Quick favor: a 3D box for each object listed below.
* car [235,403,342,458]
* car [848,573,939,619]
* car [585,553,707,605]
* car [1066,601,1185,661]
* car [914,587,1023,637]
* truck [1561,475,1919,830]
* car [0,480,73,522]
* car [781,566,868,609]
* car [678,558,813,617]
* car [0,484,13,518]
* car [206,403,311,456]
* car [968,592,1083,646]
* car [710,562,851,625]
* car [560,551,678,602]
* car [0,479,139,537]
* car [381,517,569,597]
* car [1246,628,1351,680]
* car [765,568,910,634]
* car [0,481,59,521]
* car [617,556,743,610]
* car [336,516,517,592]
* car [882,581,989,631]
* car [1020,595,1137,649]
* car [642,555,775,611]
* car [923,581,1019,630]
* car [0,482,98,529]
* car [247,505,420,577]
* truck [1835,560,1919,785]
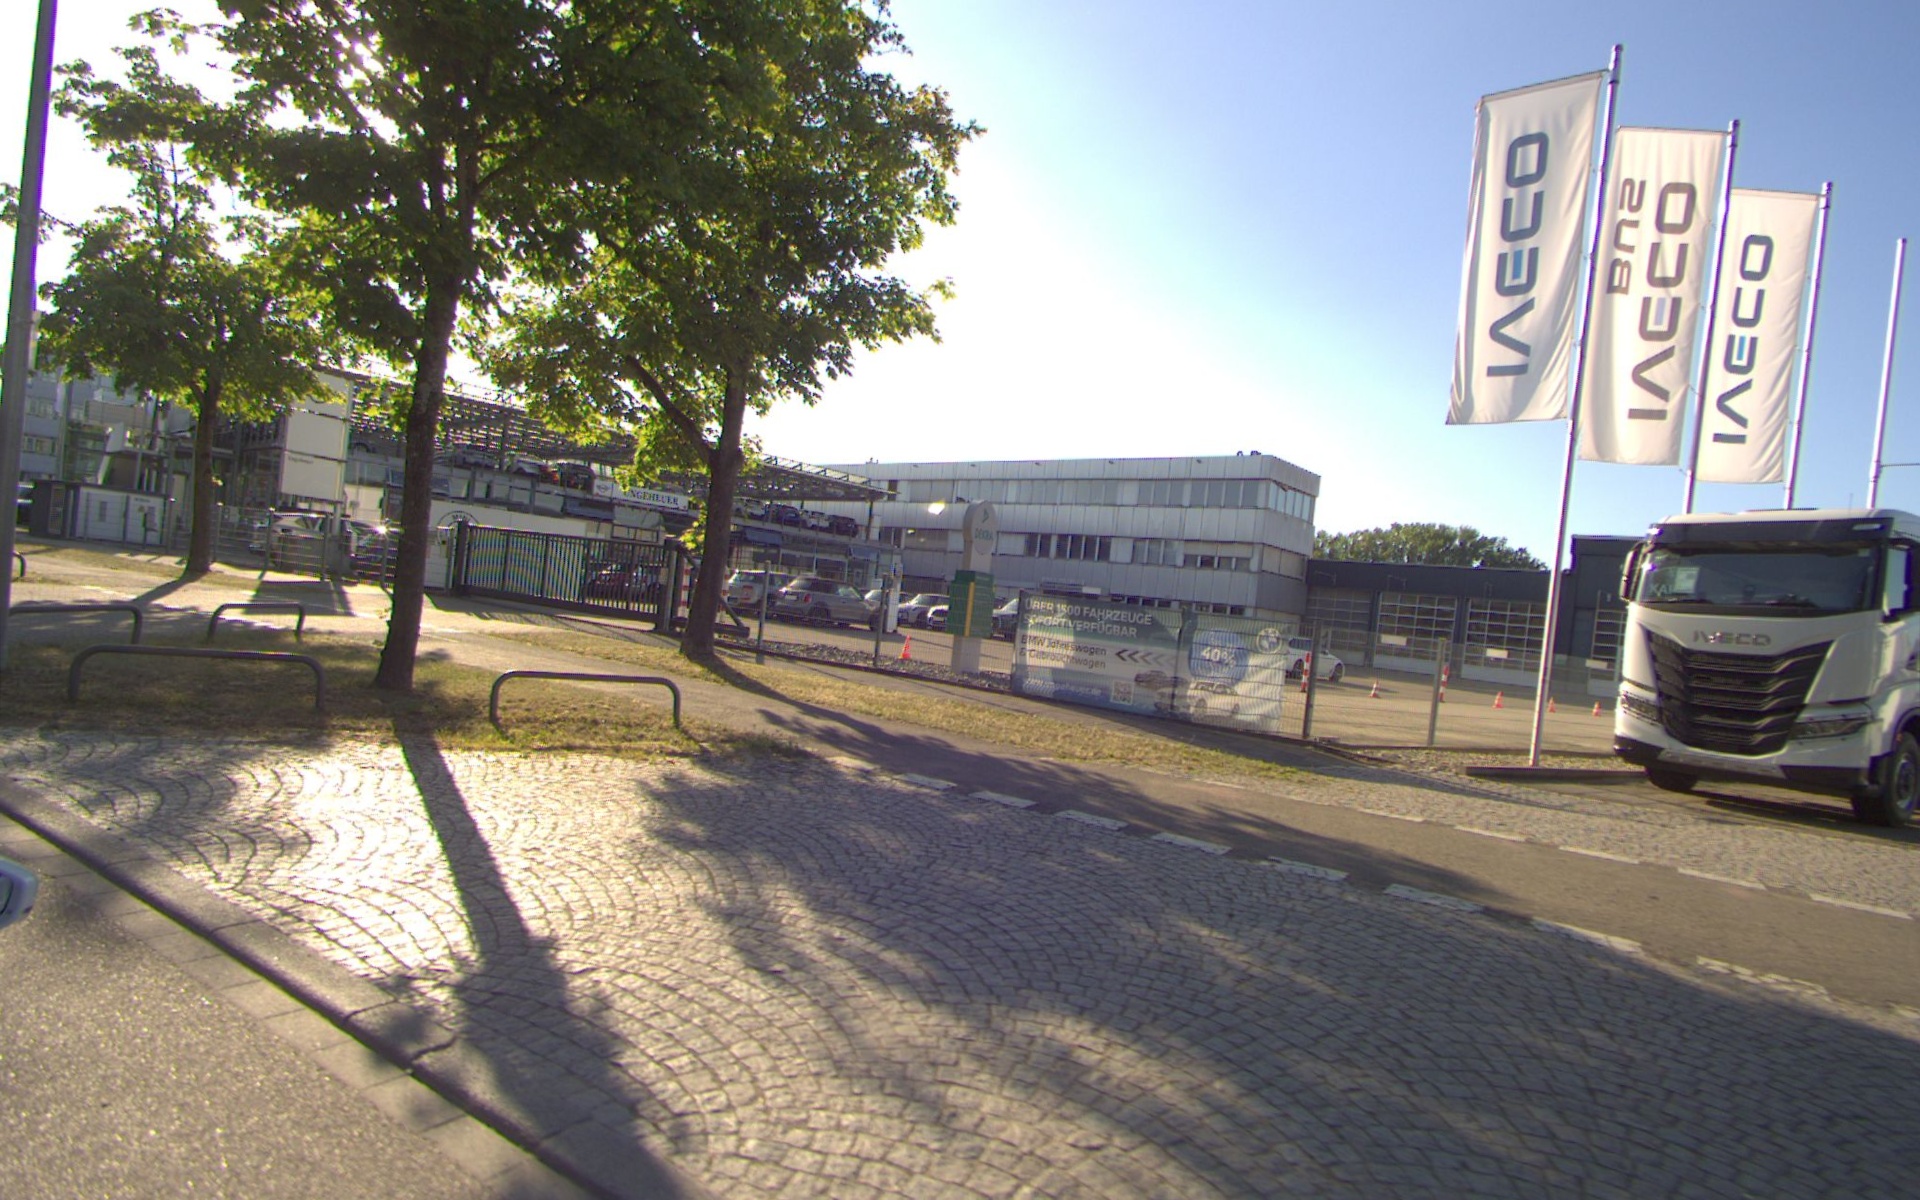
[{"bbox_3d":[-33.253,-8.357,49.908,1.762,1.685,3.984,7,-2,42],"label":"car"},{"bbox_3d":[-3.202,-0.193,48.724,1.974,1.763,3.976,7,1,44],"label":"car"},{"bbox_3d":[-12.087,-0.780,38.879,3.972,1.597,1.977,6,-2,-43],"label":"car"},{"bbox_3d":[5.744,1.087,34.636,3.972,1.599,1.825,6,3,-42],"label":"car"},{"bbox_3d":[0.350,0.496,39.359,3.972,1.597,1.883,6,-2,-42],"label":"car"},{"bbox_3d":[12.182,0.864,13.217,8.149,3.567,3.095,6,1,-26],"label":"truck"},{"bbox_3d":[-41.962,-4.460,44.052,1.962,1.594,4.603,6,1,3],"label":"car"},{"bbox_3d":[-7.028,-0.649,52.348,1.974,1.763,3.976,7,1,44],"label":"car"},{"bbox_3d":[-7.257,-0.403,34.208,3.972,1.549,1.901,6,1,-43],"label":"car"},{"bbox_3d":[-47.542,-4.943,47.050,1.962,1.594,4.604,6,0,2],"label":"car"},{"bbox_3d":[-35.847,-8.688,51.469,1.762,1.685,3.984,7,-2,42],"label":"car"},{"bbox_3d":[2.491,0.727,37.589,3.972,1.598,1.976,6,1,-42],"label":"car"},{"bbox_3d":[-5.698,-0.196,32.203,1.899,1.549,3.976,7,1,45],"label":"car"},{"bbox_3d":[-13.695,-0.928,40.466,3.972,1.597,1.977,6,-2,-43],"label":"car"},{"bbox_3d":[-36.854,-3.759,41.475,1.963,1.686,4.606,7,-1,2],"label":"car"},{"bbox_3d":[-12.667,-1.105,26.405,3.972,1.598,1.976,6,1,-43],"label":"car"},{"bbox_3d":[12.468,2.005,36.969,3.972,1.493,1.825,6,3,-42],"label":"car"},{"bbox_3d":[-3.684,0.058,30.721,1.899,1.549,3.976,7,1,45],"label":"car"},{"bbox_3d":[-45.139,-4.767,46.885,1.962,1.594,4.604,6,0,2],"label":"car"},{"bbox_3d":[-10.331,-0.625,37.288,3.972,1.597,1.977,6,-2,-43],"label":"car"},{"bbox_3d":[-14.667,-1.243,27.761,3.972,1.598,1.976,6,1,-43],"label":"car"},{"bbox_3d":[-0.975,0.268,40.924,3.972,1.598,1.882,6,1,-42],"label":"car"},{"bbox_3d":[4.283,0.802,36.070,3.972,1.597,1.977,6,-2,-42],"label":"car"},{"bbox_3d":[-8.859,-0.590,35.615,3.972,1.597,2.136,6,-2,-43],"label":"car"},{"bbox_3d":[0.525,0.251,45.189,1.974,1.763,3.976,7,1,44],"label":"car"},{"bbox_3d":[-39.513,-4.062,42.535,1.962,1.594,4.604,6,0,2],"label":"car"},{"bbox_3d":[-18.517,-1.716,29.811,3.972,1.598,1.976,6,1,-43],"label":"car"},{"bbox_3d":[20.600,1.730,18.301,9.995,3.690,3.273,6,1,-27],"label":"truck"}]
